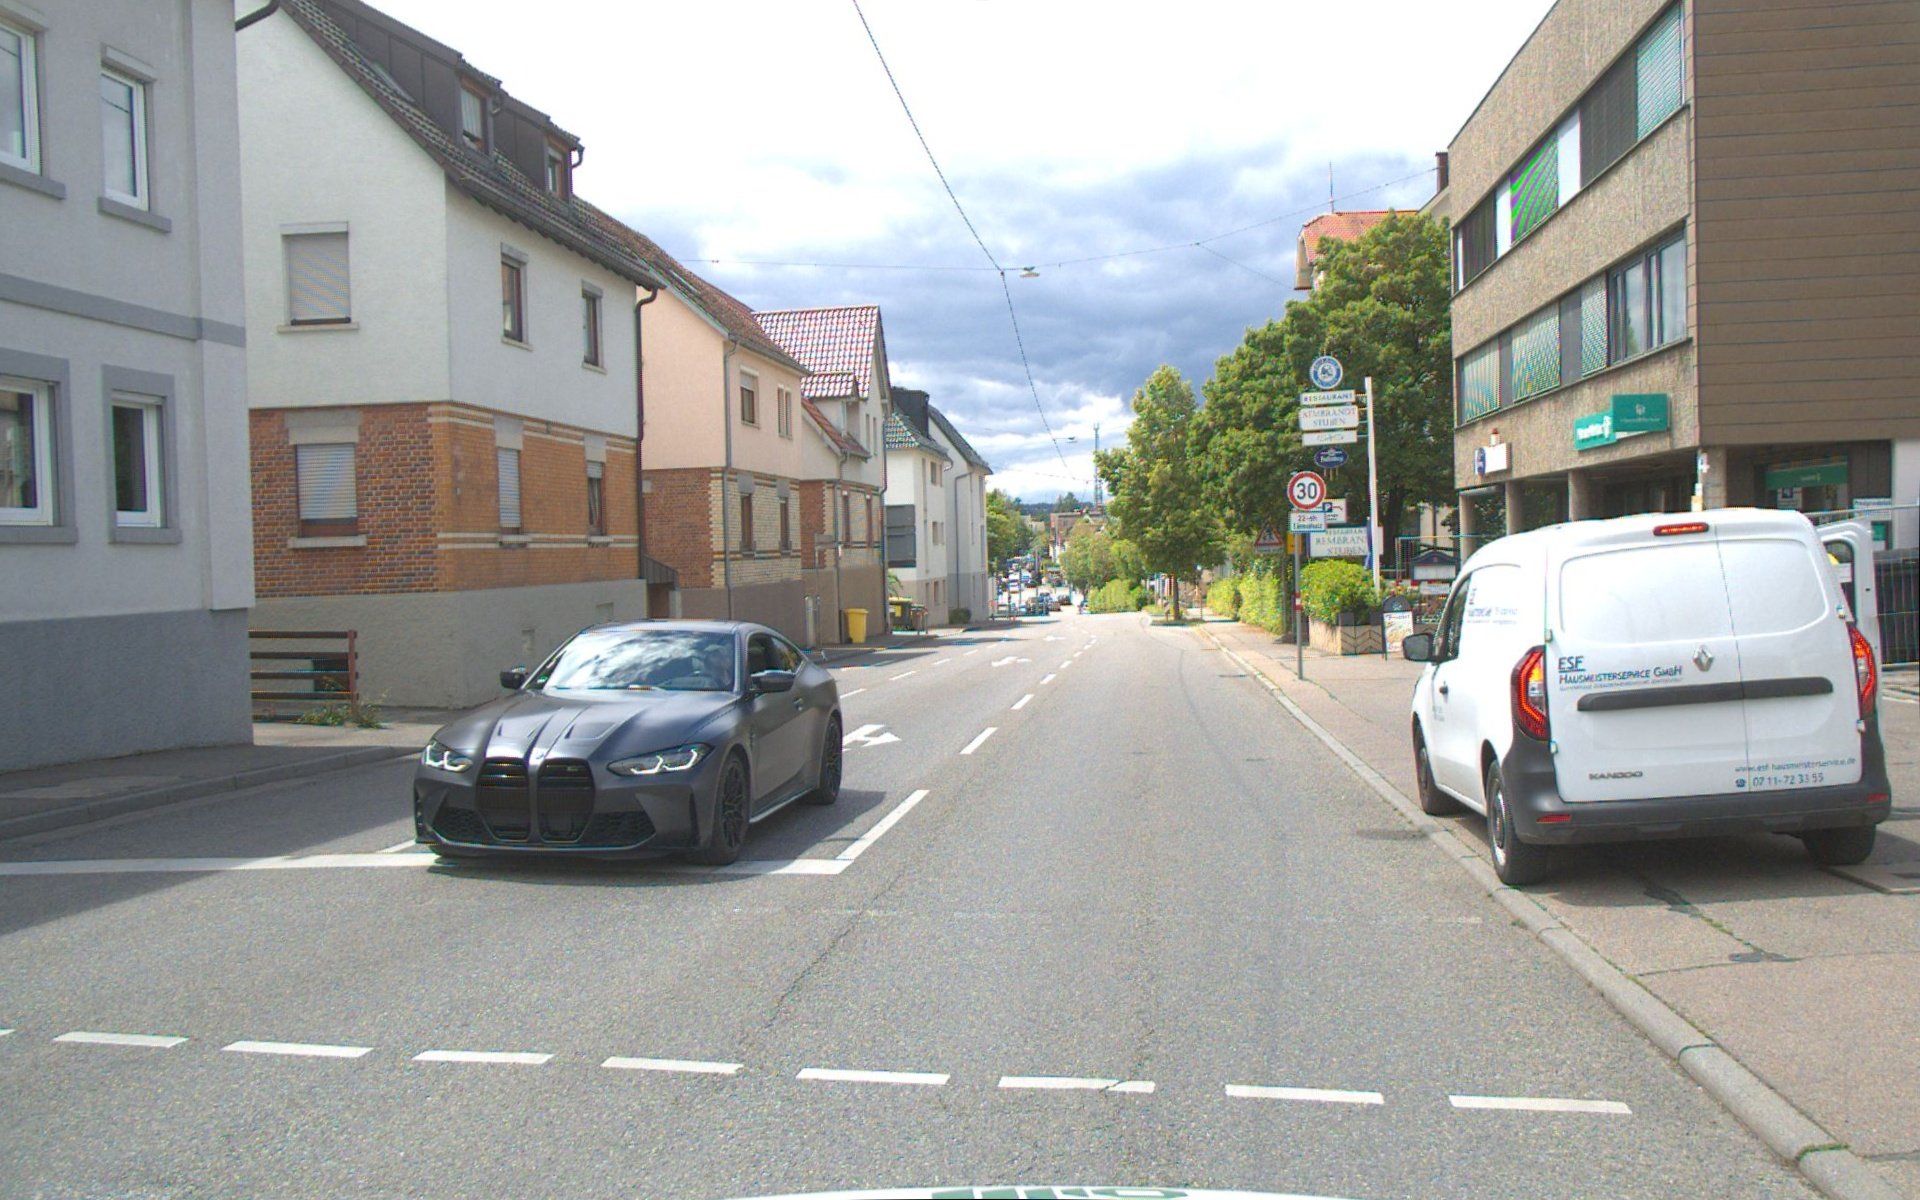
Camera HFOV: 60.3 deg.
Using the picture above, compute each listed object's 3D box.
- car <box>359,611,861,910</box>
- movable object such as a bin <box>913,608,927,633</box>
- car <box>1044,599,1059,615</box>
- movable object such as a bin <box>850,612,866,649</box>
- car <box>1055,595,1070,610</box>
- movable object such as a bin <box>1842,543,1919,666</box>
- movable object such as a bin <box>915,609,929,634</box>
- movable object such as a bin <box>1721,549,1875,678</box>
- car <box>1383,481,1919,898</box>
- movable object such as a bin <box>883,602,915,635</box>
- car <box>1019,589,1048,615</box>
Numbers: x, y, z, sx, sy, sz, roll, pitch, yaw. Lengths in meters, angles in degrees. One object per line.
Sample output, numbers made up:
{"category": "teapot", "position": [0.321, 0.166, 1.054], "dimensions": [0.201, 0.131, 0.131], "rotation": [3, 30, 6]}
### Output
{"category": "car", "position": [-2.049, 0.892, 11.257], "dimensions": [1.951, 1.482, 4.621], "rotation": [-3, 0, 6]}
{"category": "movable object such as a bin", "position": [-1.700, 0.869, 70.270], "dimensions": [0.520, 1.048, 0.455], "rotation": [-2, 0, 5]}
{"category": "car", "position": [12.280, 0.928, 222.246], "dimensions": [1.952, 2.049, 4.001], "rotation": [-2, -1, 2]}
{"category": "movable object such as a bin", "position": [-3.264, 0.974, 52.946], "dimensions": [0.422, 1.147, 0.299], "rotation": [-2, 0, 5]}
{"category": "car", "position": [14.735, 0.391, 238.037], "dimensions": [1.952, 2.049, 4.001], "rotation": [-2, -1, 2]}
{"category": "movable object such as a bin", "position": [11.708, 0.038, 20.802], "dimensions": [0.763, 1.465, 1.019], "rotation": [-2, 2, 9]}
{"category": "movable object such as a bin", "position": [-1.635, 0.937, 70.783], "dimensions": [0.520, 1.048, 0.455], "rotation": [-2, 0, 5]}
{"category": "movable object such as a bin", "position": [10.551, 0.155, 20.873], "dimensions": [1.451, 1.518, 1.077], "rotation": [-2, 2, 9]}
{"category": "car", "position": [3.850, 0.414, 9.922], "dimensions": [1.871, 1.825, 4.494], "rotation": [-4, 0, 7]}
{"category": "movable object such as a bin", "position": [-2.528, 0.778, 69.036], "dimensions": [1.255, 1.333, 0.816], "rotation": [-2, 0, 1]}
{"category": "car", "position": [5.990, 0.184, 135.318], "dimensions": [1.954, 2.049, 3.998], "rotation": [-2, 0, -3]}
